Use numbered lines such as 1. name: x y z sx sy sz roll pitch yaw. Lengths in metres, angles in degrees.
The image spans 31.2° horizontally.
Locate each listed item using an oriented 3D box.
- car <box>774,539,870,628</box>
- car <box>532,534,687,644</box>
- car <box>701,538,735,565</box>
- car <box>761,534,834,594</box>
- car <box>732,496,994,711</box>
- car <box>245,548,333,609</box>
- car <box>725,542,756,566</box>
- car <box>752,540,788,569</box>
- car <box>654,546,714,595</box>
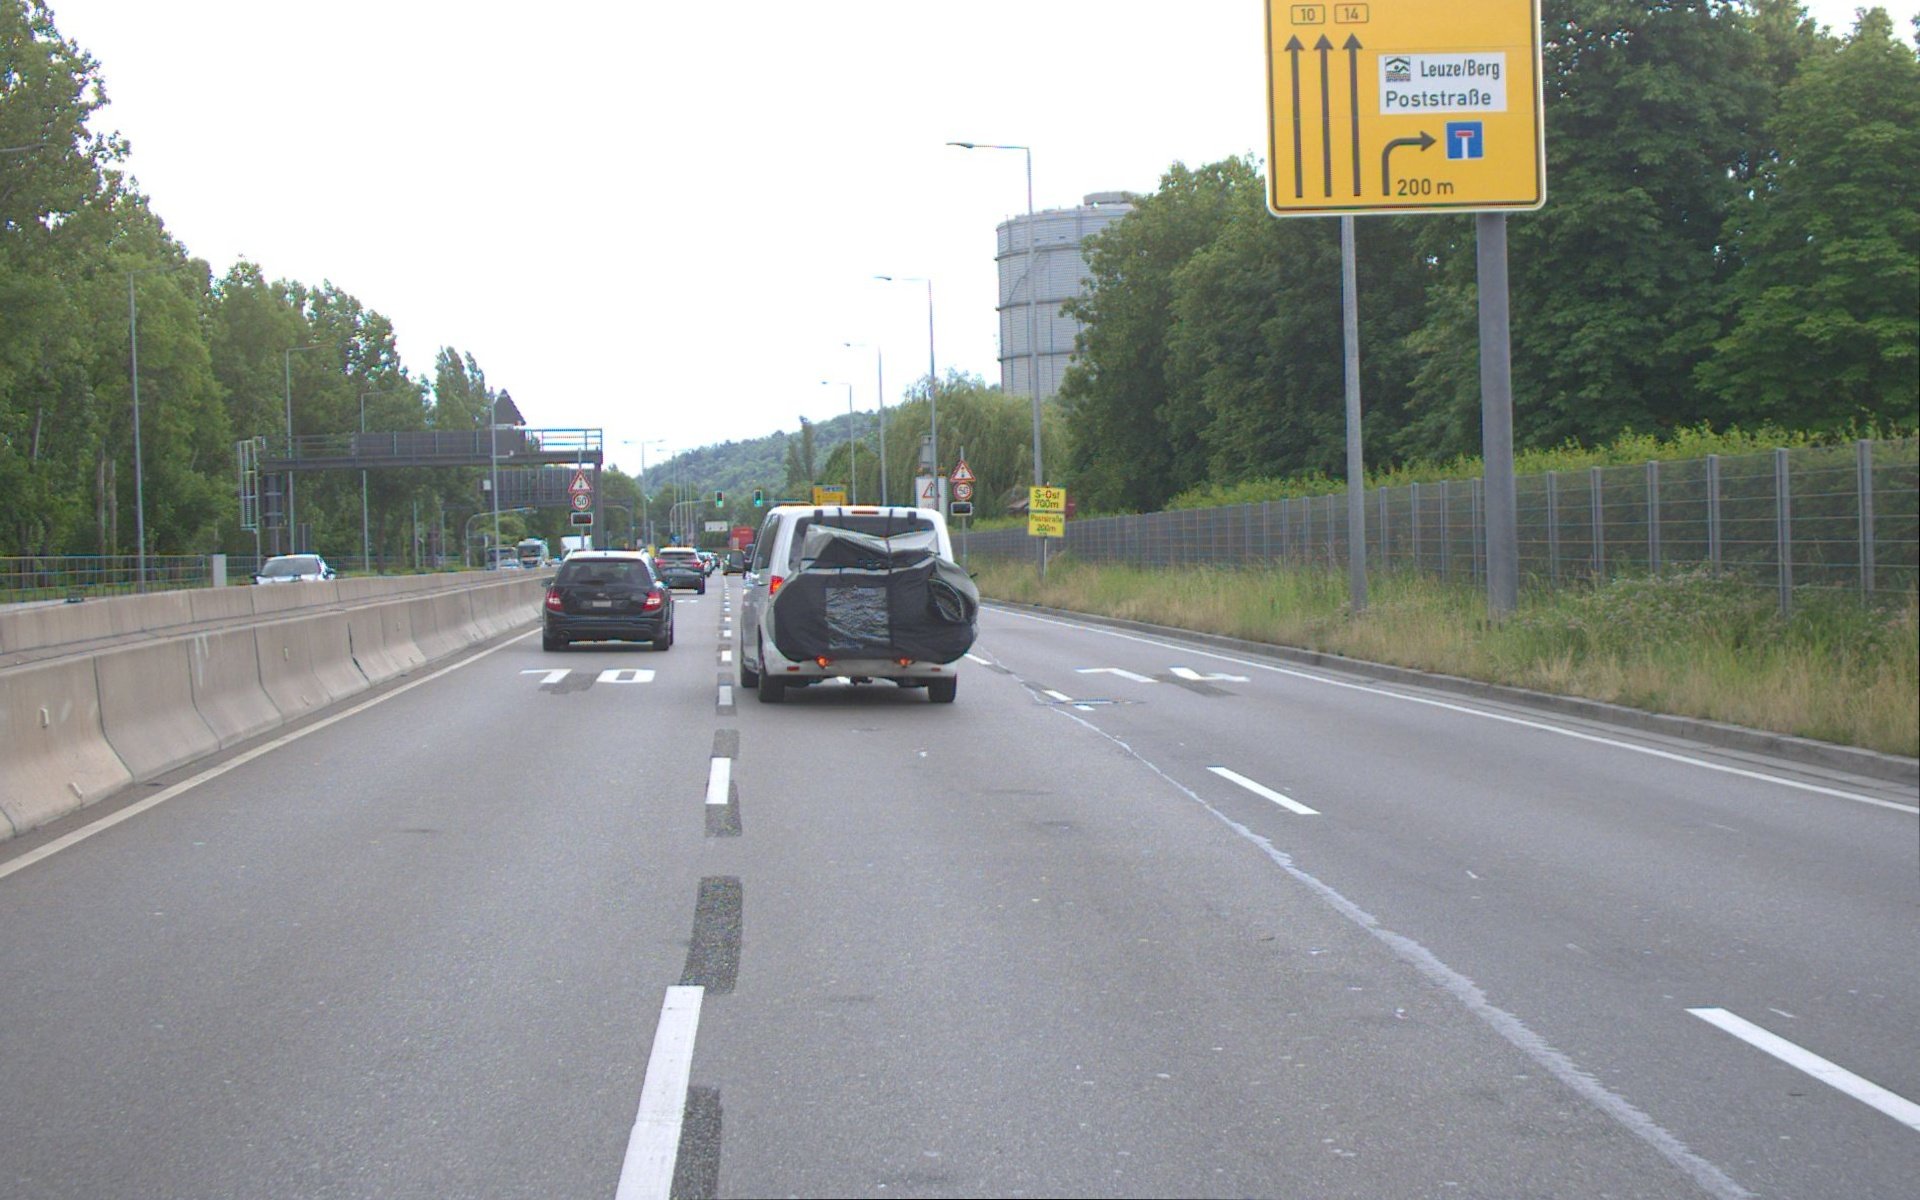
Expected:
1. car: -3.008 -0.388 74.520 1.993 1.853 4.001 -1 1 -3
2. car: -4.926 -0.190 48.738 1.815 1.429 4.066 -2 1 -1
3. car: -14.754 -2.975 209.637 1.993 1.648 4.001 -1 1 -4
4. car: -4.561 -1.026 96.867 1.993 1.663 4.000 0 1 -2
5. car: -1.038 -0.025 33.155 1.992 1.852 5.642 1 1 -7
6. car: -15.736 -0.518 80.755 1.732 1.369 3.617 -1 1 -7
7. car: -15.038 -3.157 235.280 1.993 1.648 4.001 0 1 -6
8. car: -10.902 -2.645 197.283 1.993 1.648 4.001 0 1 -4
9. car: -9.523 -1.014 118.907 1.993 1.667 4.001 1 0 -4
